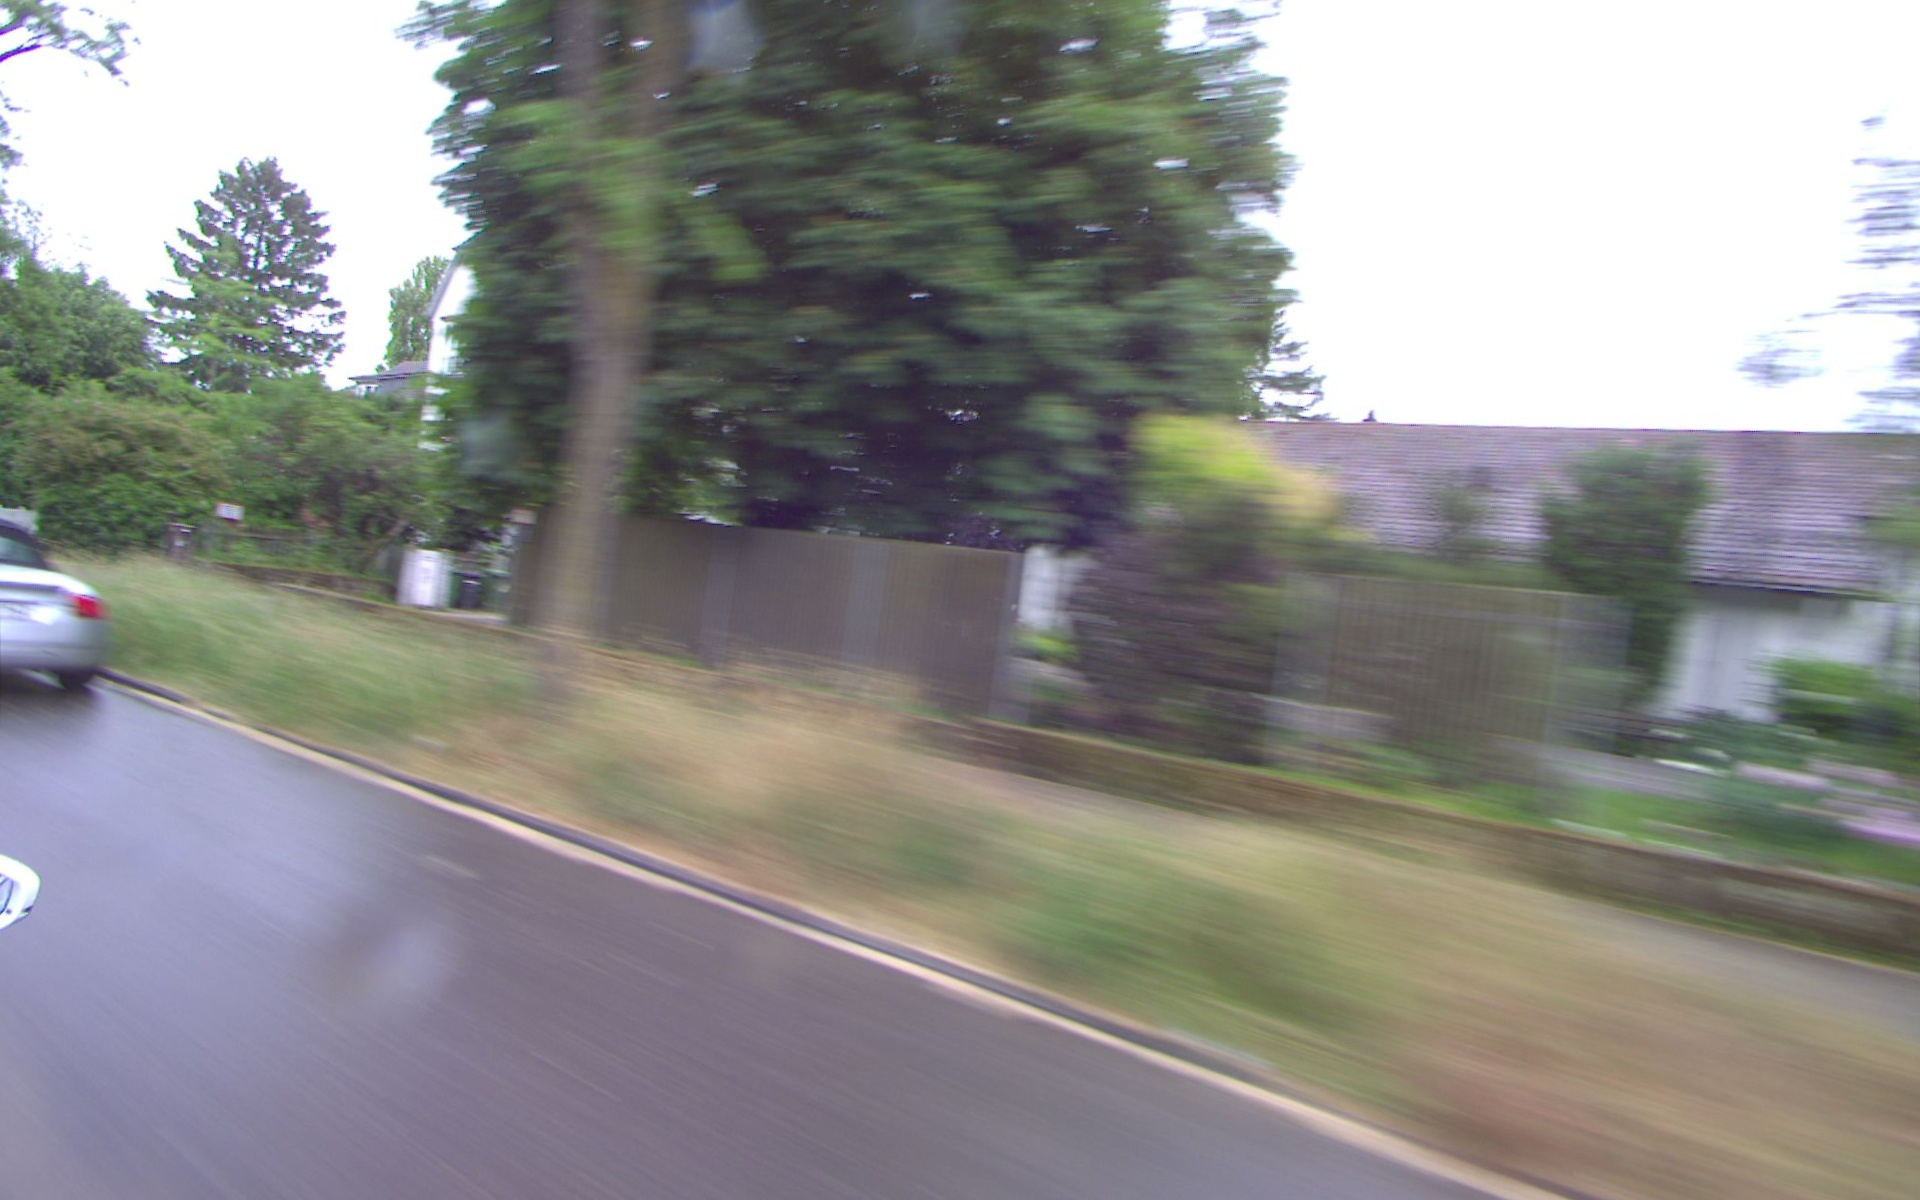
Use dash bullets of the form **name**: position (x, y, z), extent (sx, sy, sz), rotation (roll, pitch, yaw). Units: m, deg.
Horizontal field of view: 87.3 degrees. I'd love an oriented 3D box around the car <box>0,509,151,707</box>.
- **car**: position (-8.723, -0.136, 8.307), extent (3.932, 1.411, 1.786), rotation (7, -2, 30)
